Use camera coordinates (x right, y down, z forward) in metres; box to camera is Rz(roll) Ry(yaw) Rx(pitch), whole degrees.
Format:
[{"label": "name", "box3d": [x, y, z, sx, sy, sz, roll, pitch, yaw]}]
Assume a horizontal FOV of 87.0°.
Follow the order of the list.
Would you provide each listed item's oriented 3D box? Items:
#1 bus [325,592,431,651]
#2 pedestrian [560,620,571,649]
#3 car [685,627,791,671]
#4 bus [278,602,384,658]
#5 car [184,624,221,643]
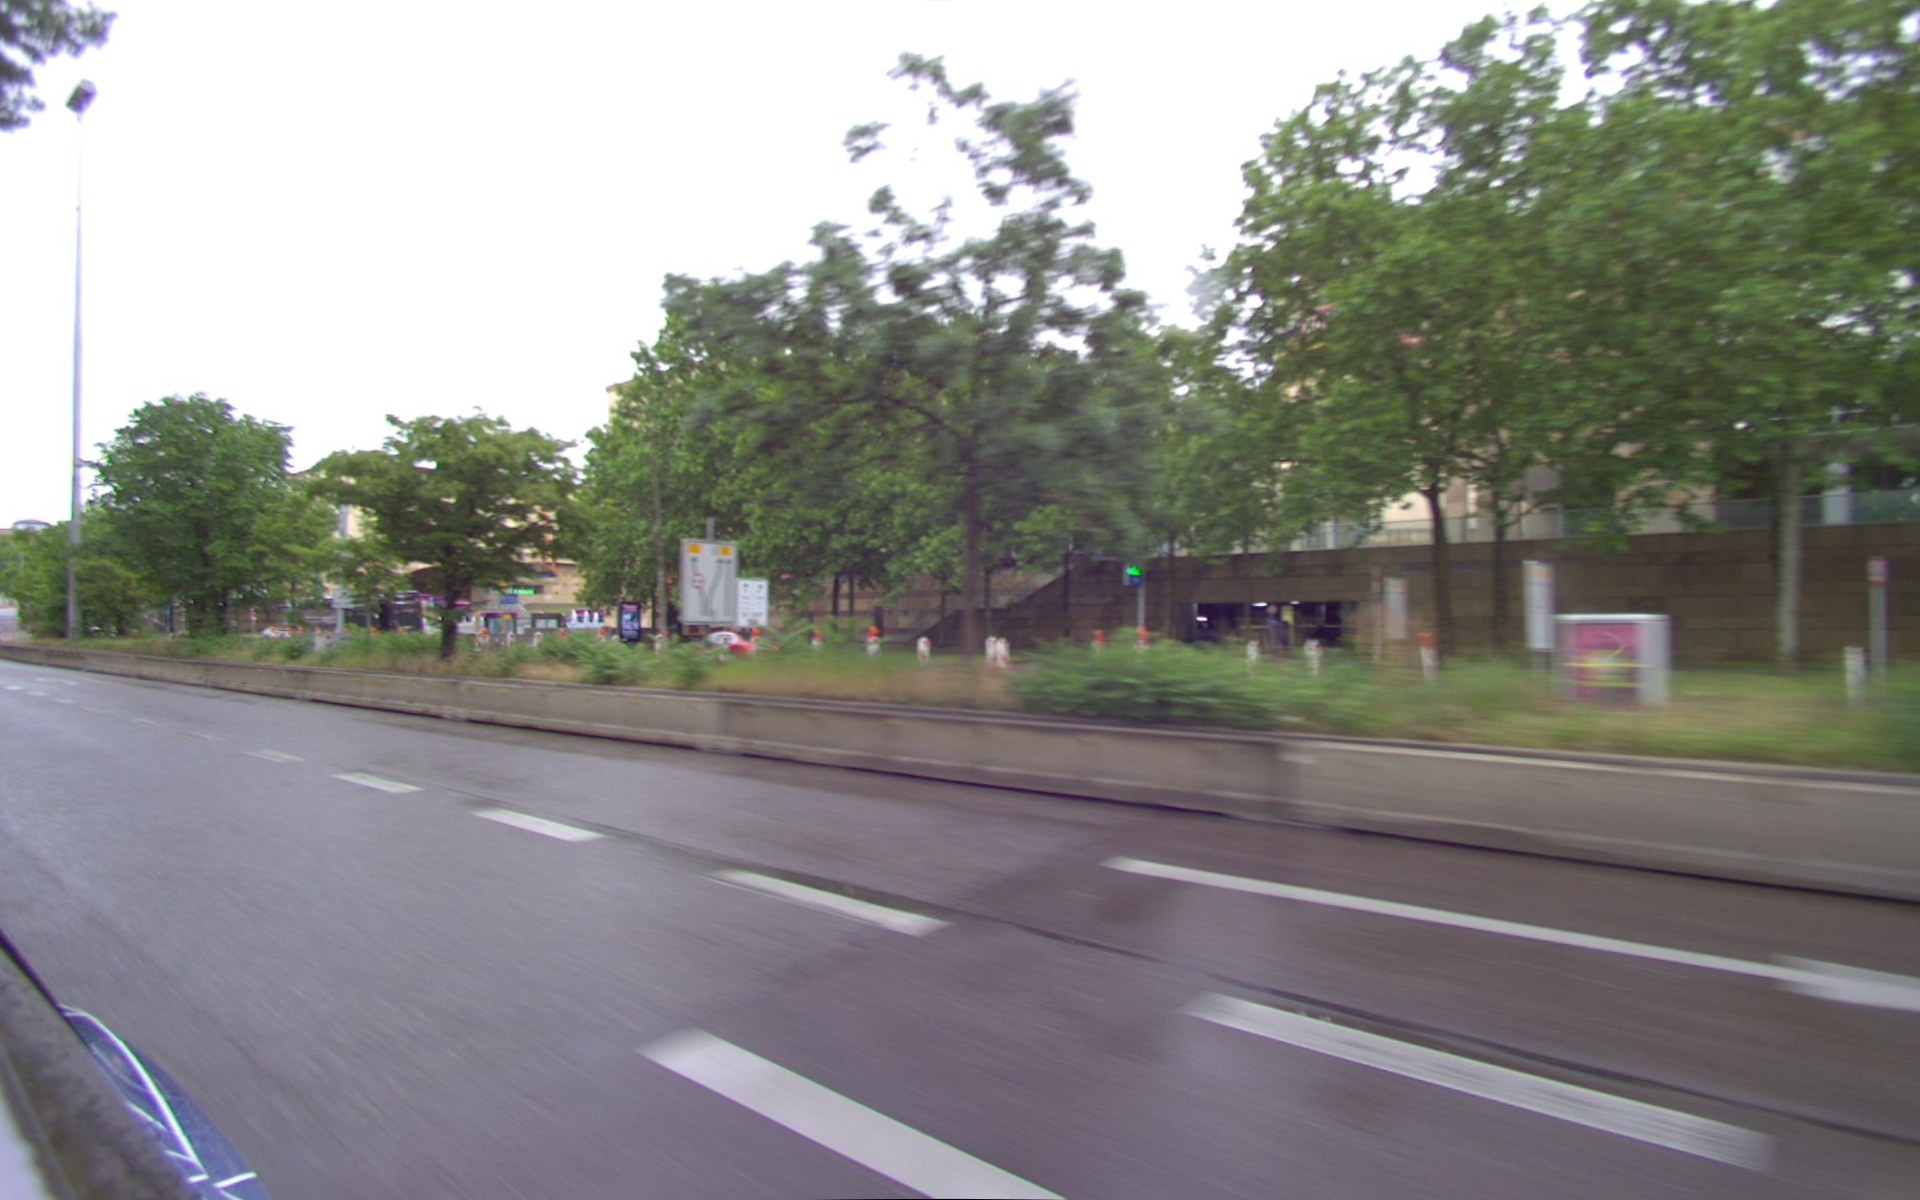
[{"label": "bus", "box3d": [-45.890, 1.696, 79.500, 13.489, 4.284, 3.086, -1, 0, 42]}, {"label": "pedestrian", "box3d": [-27.645, 2.441, 70.938, 0.511, 2.029, 0.473, 0, -3, 39]}, {"label": "car", "box3d": [-8.619, 1.871, 39.217, 3.997, 1.541, 1.973, 0, -3, 41]}, {"label": "bus", "box3d": [-47.455, 2.220, 75.999, 14.592, 3.840, 2.774, -1, 0, 42]}, {"label": "car", "box3d": [-62.807, 2.765, 83.862, 3.207, 1.512, 1.577, -1, -1, 36]}]
